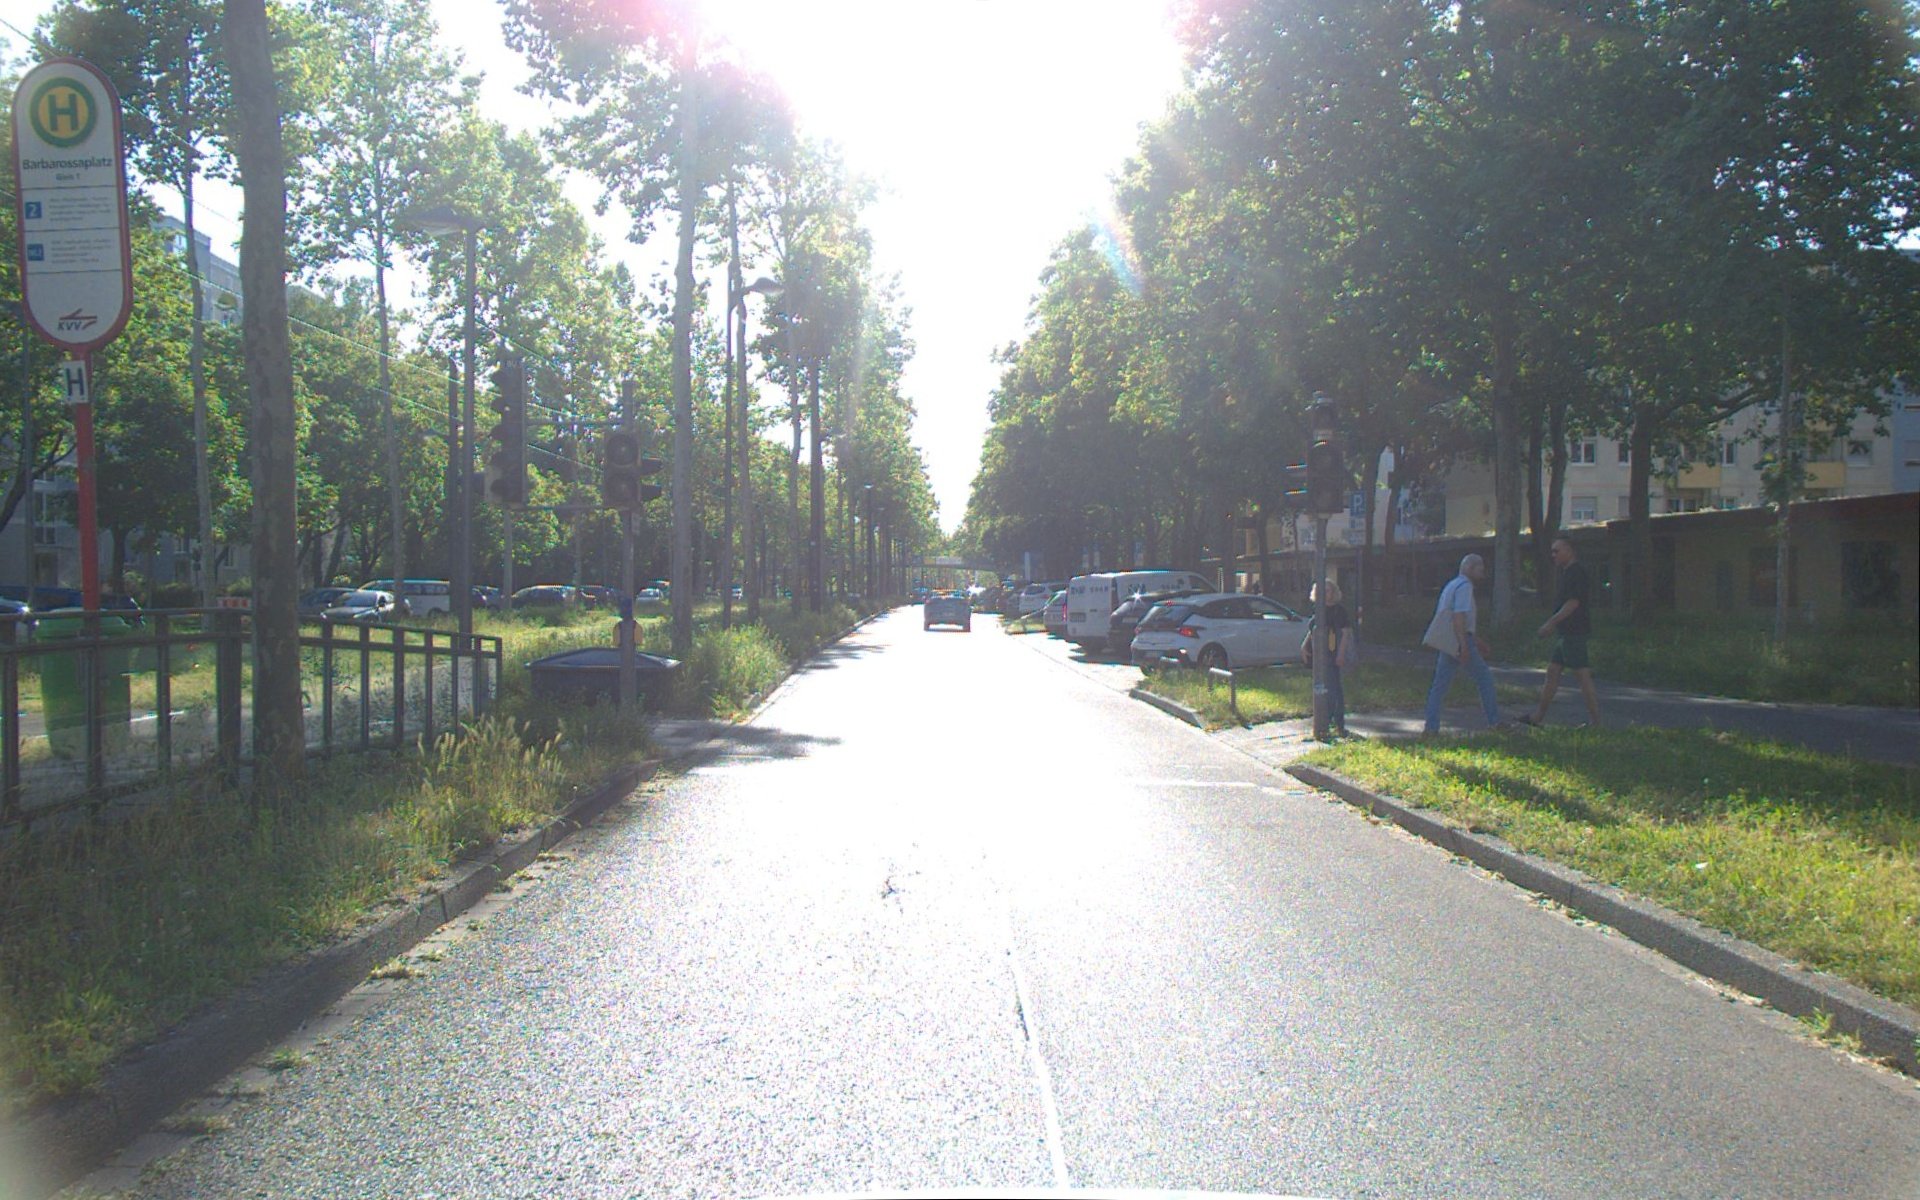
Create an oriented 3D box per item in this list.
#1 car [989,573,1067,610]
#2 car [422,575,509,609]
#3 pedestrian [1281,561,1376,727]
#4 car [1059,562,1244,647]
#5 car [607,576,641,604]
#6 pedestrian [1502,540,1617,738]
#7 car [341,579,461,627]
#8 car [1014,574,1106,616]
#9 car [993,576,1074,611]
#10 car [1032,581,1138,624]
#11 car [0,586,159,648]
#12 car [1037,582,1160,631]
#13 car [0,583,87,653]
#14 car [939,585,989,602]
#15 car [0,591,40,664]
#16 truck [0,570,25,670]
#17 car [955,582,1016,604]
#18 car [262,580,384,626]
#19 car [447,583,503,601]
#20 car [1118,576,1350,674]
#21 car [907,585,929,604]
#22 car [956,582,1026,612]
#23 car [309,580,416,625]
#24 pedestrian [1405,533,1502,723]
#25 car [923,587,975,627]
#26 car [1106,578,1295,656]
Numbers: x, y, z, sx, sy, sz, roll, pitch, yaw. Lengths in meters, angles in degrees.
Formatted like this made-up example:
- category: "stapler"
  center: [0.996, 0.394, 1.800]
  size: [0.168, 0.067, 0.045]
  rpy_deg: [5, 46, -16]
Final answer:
- category: "car"
  center: [3.582, -0.444, 86.212]
  size: [4.049, 1.842, 1.626]
  rpy_deg: [-2, 1, -41]
- category: "car"
  center: [-24.909, -0.412, 83.280]
  size: [4.019, 1.635, 1.980]
  rpy_deg: [-1, 2, -25]
- category: "pedestrian"
  center: [3.974, 0.463, 17.835]
  size: [0.704, 1.736, 0.646]
  rpy_deg: [-2, 0, -36]
- category: "car"
  center: [4.671, 0.081, 39.956]
  size: [4.630, 1.885, 1.803]
  rpy_deg: [-2, 1, -42]
- category: "car"
  center: [-27.396, -0.806, 135.082]
  size: [1.611, 2.129, 4.915]
  rpy_deg: [2, 0, 1]
- category: "pedestrian"
  center: [5.951, 0.370, 16.465]
  size: [0.782, 1.918, 0.928]
  rpy_deg: [0, 1, -3]
- category: "car"
  center: [-24.923, 0.087, 73.852]
  size: [4.753, 2.041, 1.865]
  rpy_deg: [-1, 2, -40]
- category: "car"
  center: [4.422, -0.233, 72.463]
  size: [3.995, 1.734, 1.733]
  rpy_deg: [-2, 1, -43]
- category: "car"
  center: [3.376, -0.296, 75.592]
  size: [3.760, 1.496, 1.624]
  rpy_deg: [-2, 1, -45]
- category: "car"
  center: [4.457, 0.090, 58.549]
  size: [1.561, 1.397, 3.910]
  rpy_deg: [-1, 1, 45]
- category: "car"
  center: [-24.738, 0.435, 46.099]
  size: [1.622, 1.501, 4.061]
  rpy_deg: [6, 5, 41]
- category: "car"
  center: [4.547, 0.202, 53.833]
  size: [1.692, 1.437, 4.155]
  rpy_deg: [-1, 1, 45]
- category: "car"
  center: [-24.784, 0.457, 42.313]
  size: [1.623, 1.674, 4.060]
  rpy_deg: [3, 3, 42]
- category: "car"
  center: [0.355, -0.551, 149.001]
  size: [1.945, 1.484, 4.596]
  rpy_deg: [-1, 0, 42]
- category: "car"
  center: [-24.183, 0.664, 39.054]
  size: [4.052, 1.674, 1.625]
  rpy_deg: [-1, 2, -43]
- category: "truck"
  center: [-22.789, 0.386, 36.003]
  size: [4.040, 1.798, 1.637]
  rpy_deg: [2, 15, -37]
- category: "car"
  center: [1.879, -0.491, 120.953]
  size: [1.826, 1.469, 4.462]
  rpy_deg: [-1, 1, 45]
- category: "car"
  center: [-24.336, 0.109, 63.225]
  size: [4.052, 1.675, 1.625]
  rpy_deg: [-1, -1, -43]
- category: "car"
  center: [-42.835, -0.716, 146.038]
  size: [4.452, 1.596, 1.766]
  rpy_deg: [-1, 0, -44]
- category: "car"
  center: [4.951, 0.413, 29.738]
  size: [3.949, 1.495, 1.741]
  rpy_deg: [-3, 1, -33]
- category: "car"
  center: [-3.529, -0.437, 139.945]
  size: [1.812, 1.562, 3.866]
  rpy_deg: [0, 1, -1]
- category: "car"
  center: [1.909, -0.210, 100.362]
  size: [4.281, 1.747, 1.612]
  rpy_deg: [-1, 1, -41]
- category: "car"
  center: [-19.673, 0.050, 54.654]
  size: [1.952, 1.413, 4.168]
  rpy_deg: [-1, 1, 1]
- category: "pedestrian"
  center: [4.688, 0.259, 15.756]
  size: [0.824, 1.752, 0.831]
  rpy_deg: [0, 1, 14]
- category: "car"
  center: [-0.444, 0.235, 62.245]
  size: [1.883, 1.435, 3.999]
  rpy_deg: [1, 1, -2]
- category: "car"
  center: [5.295, 0.339, 36.234]
  size: [3.955, 1.454, 1.776]
  rpy_deg: [-4, 1, -36]
